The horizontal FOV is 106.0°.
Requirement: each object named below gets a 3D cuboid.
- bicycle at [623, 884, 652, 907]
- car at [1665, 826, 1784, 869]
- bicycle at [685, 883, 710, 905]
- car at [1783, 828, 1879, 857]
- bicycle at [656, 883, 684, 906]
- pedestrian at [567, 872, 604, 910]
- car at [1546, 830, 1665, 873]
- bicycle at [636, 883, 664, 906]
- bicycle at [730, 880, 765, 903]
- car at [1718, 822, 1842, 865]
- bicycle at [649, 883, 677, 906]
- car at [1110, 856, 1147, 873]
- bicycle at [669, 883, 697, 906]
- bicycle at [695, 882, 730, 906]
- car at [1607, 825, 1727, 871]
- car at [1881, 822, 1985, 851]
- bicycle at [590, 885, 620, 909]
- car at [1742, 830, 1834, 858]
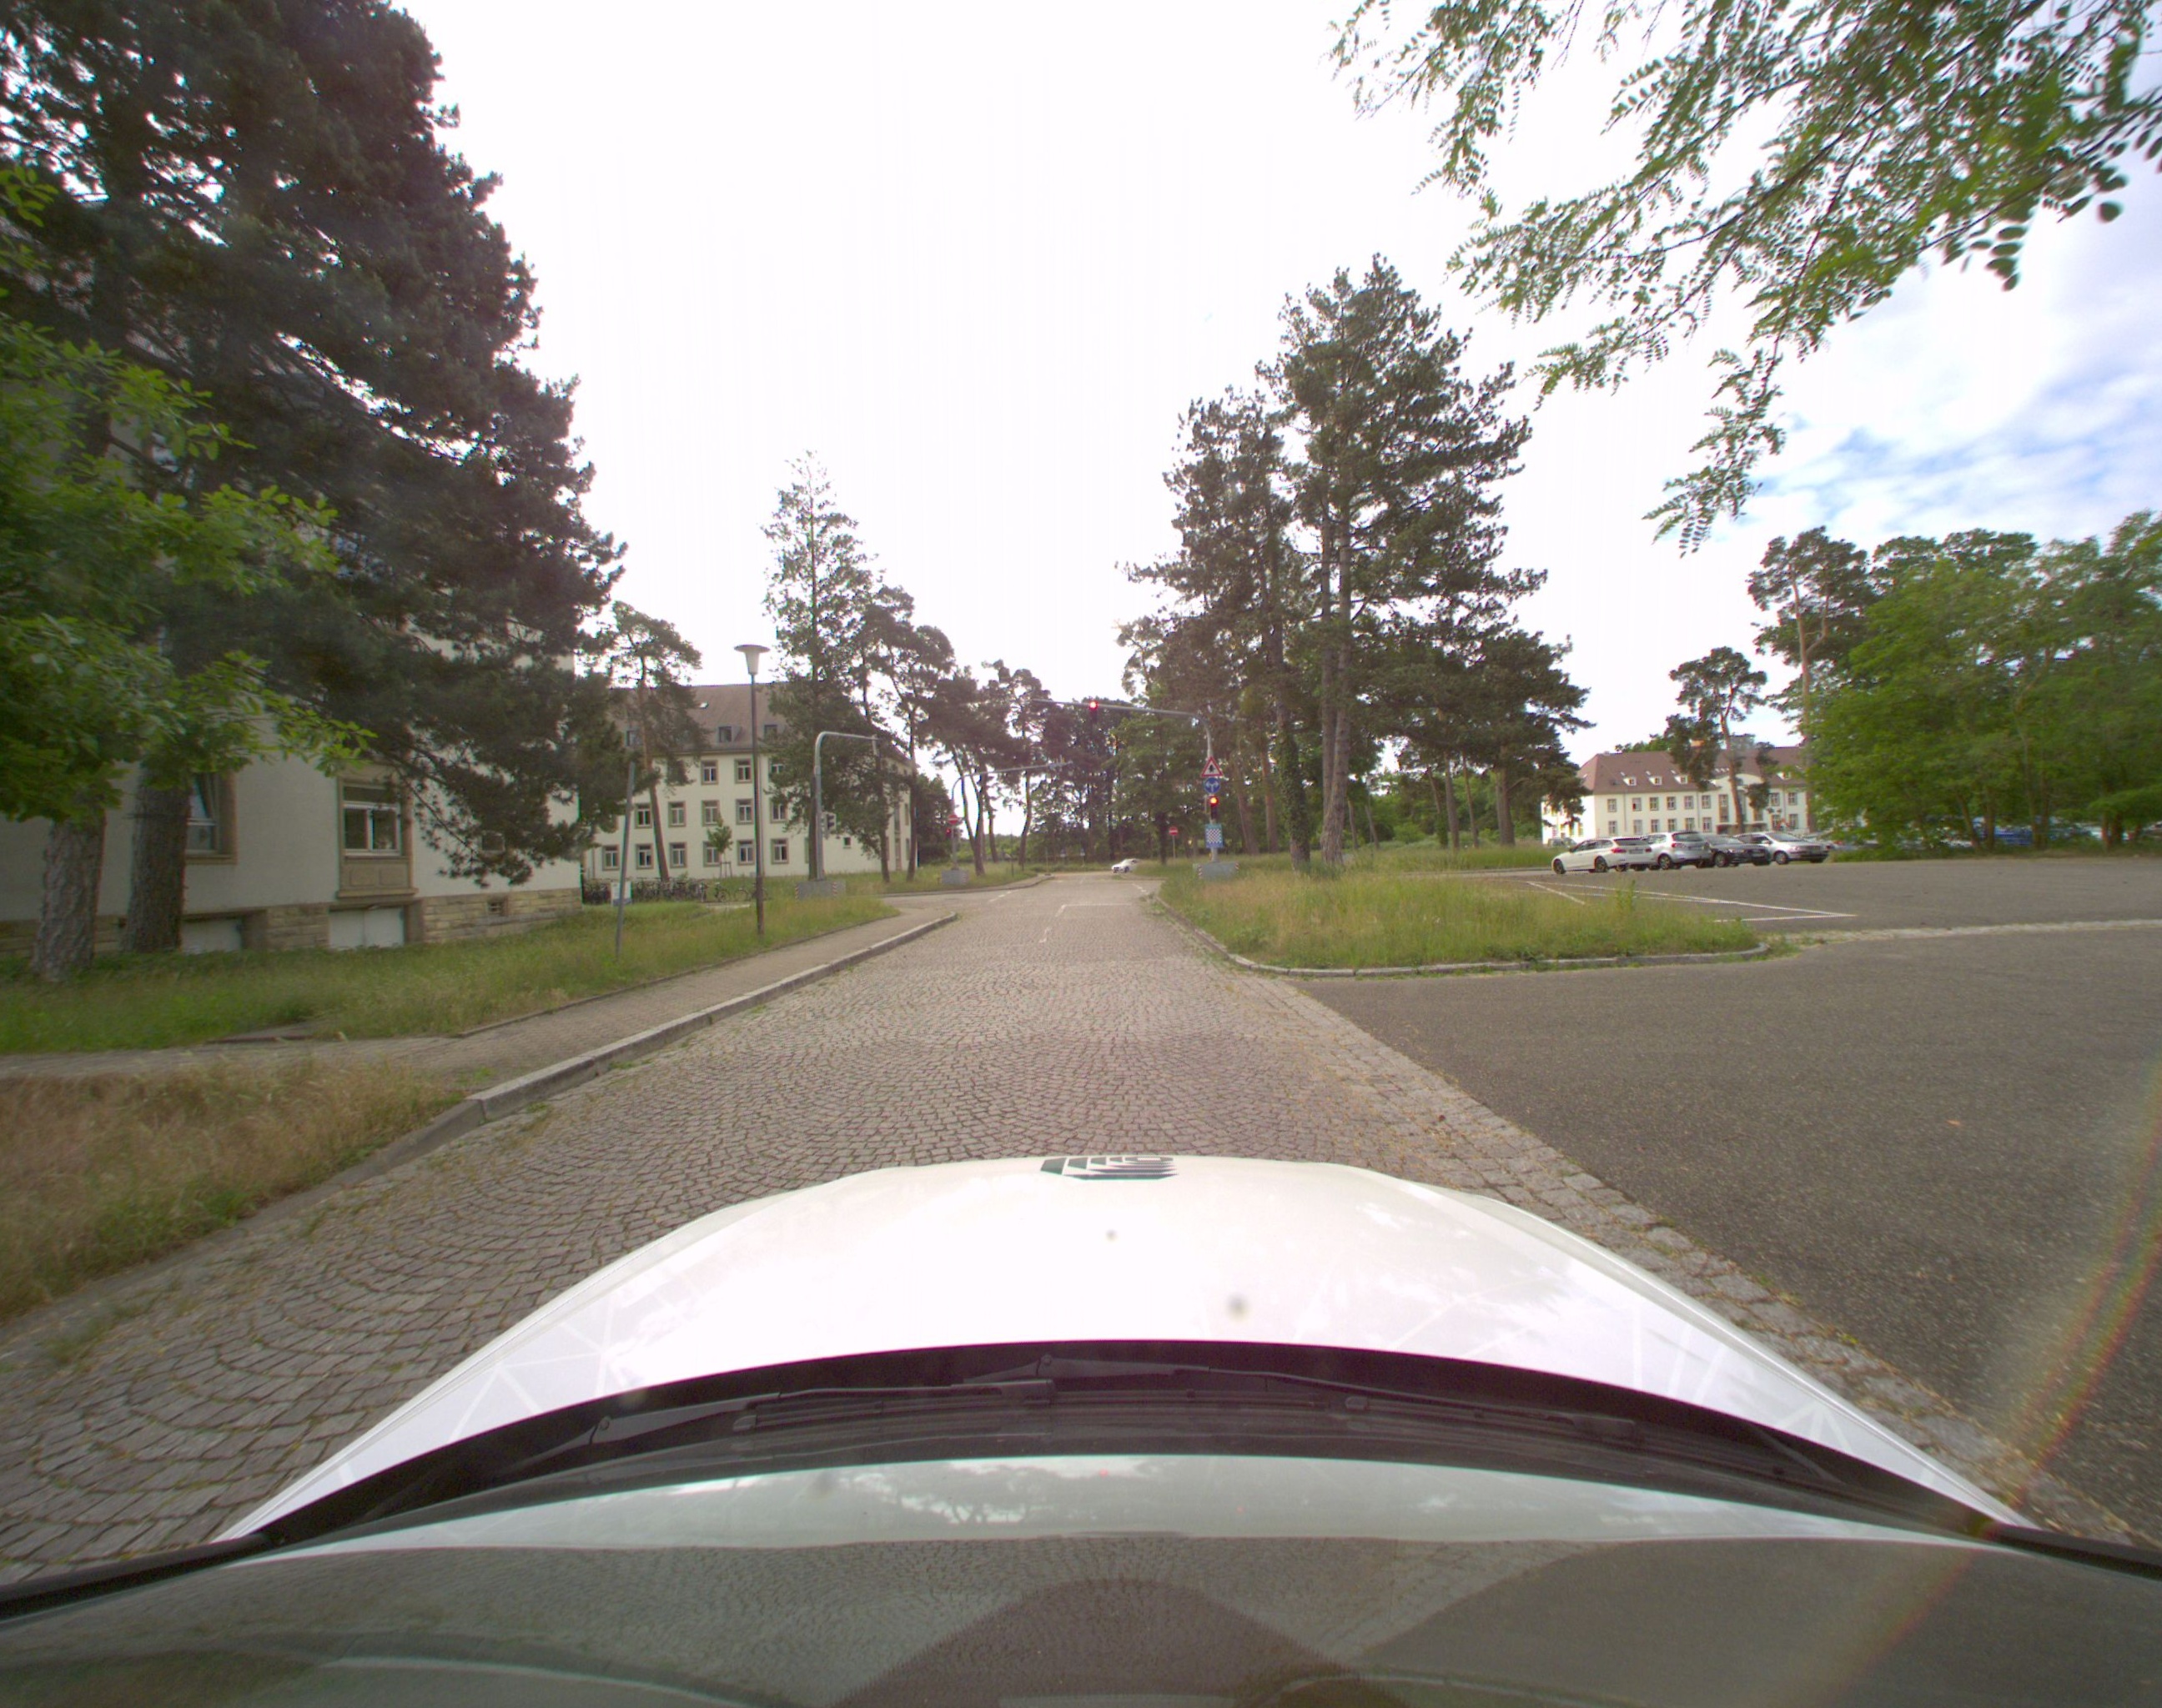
[{"bbox_3d":[-22.519,2.102,41.387,0.512,1.079,1.586,-3,-1,1],"label":"bicycle"},{"bbox_3d":[26.941,-0.229,34.305,1.694,1.485,4.245,-3,-3,2],"label":"car"},{"bbox_3d":[-19.524,2.024,41.448,0.513,1.079,1.584,-3,-1,-2],"label":"bicycle"},{"bbox_3d":[41.654,-0.624,45.377,1.725,1.472,4.251,-2,0,6],"label":"car"},{"bbox_3d":[-20.905,2.045,41.452,0.512,1.079,1.586,-3,-1,1],"label":"bicycle"},{"bbox_3d":[-24.771,1.843,40.720,1.050,1.788,1.165,-2,1,29],"label":"pedestrian"},{"bbox_3d":[21.676,-0.043,33.901,1.843,1.487,4.605,-1,-3,-2],"label":"car"},{"bbox_3d":[-21.897,2.070,41.409,0.512,1.079,1.586,-3,-1,1],"label":"bicycle"},{"bbox_3d":[-16.492,1.861,40.234,1.460,1.065,0.516,-3,-1,-2],"label":"bicycle"},{"bbox_3d":[29.679,-0.399,34.789,1.694,1.485,4.245,-3,-3,2],"label":"car"},{"bbox_3d":[-21.266,2.050,41.456,0.512,1.079,1.586,-3,-1,1],"label":"bicycle"},{"bbox_3d":[5.149,1.122,88.571,1.756,1.438,4.246,-5,0,39],"label":"car"},{"bbox_3d":[-20.203,2.034,41.359,0.512,1.079,1.587,-3,-1,4],"label":"bicycle"},{"bbox_3d":[-18.127,1.958,40.066,1.460,1.079,0.516,-3,-1,-2],"label":"bicycle"},{"bbox_3d":[24.311,-0.210,34.012,1.777,1.605,4.239,-2,-3,-2],"label":"car"},{"bbox_3d":[47.310,-0.931,45.356,1.608,1.502,4.251,-2,0,6],"label":"car"},{"bbox_3d":[-24.150,2.175,41.371,0.512,1.079,1.586,-3,-1,1],"label":"bicycle"},{"bbox_3d":[39.034,-0.525,45.086,1.725,1.390,4.251,-2,0,6],"label":"car"}]
